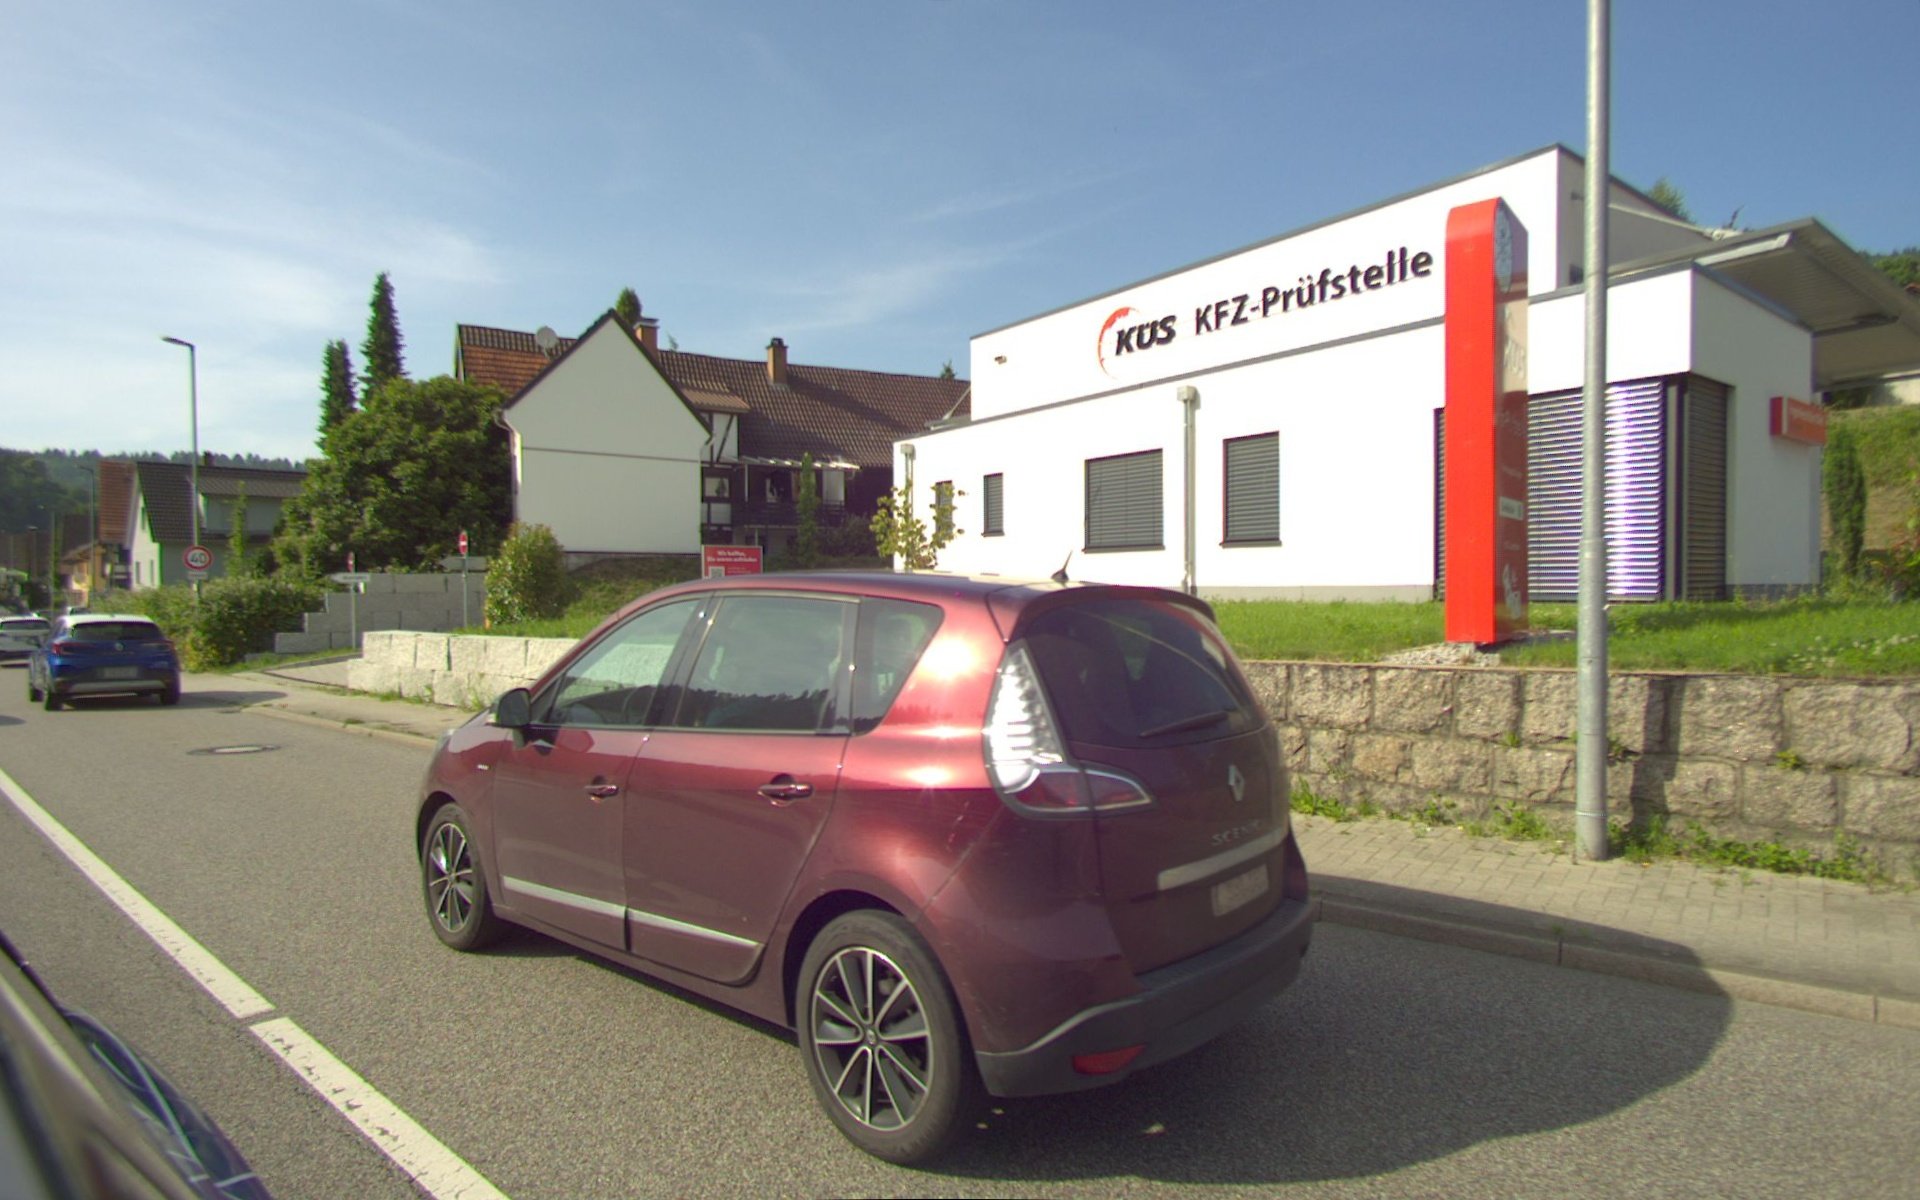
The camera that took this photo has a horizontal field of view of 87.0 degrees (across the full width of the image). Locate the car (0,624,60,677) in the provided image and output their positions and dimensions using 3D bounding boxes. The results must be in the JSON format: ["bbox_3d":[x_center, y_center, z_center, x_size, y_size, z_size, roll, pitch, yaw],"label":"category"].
[{"bbox_3d":[-29.239,1.526,31.297,4.190,1.515,1.730,-2,-2,43],"label":"car"}]

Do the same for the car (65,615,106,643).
[{"bbox_3d":[-56.135,1.844,64.957,1.878,1.677,4.273,-2,1,-42],"label":"car"}]

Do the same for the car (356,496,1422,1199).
[{"bbox_3d":[-0.730,0.682,4.174,4.461,1.630,1.778,-2,-3,42],"label":"car"}]

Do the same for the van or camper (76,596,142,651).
[{"bbox_3d":[-43.049,1.155,51.122,2.123,2.574,5.906,-1,0,-44],"label":"van or camper"}]

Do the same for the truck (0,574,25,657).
[{"bbox_3d":[-49.952,0.830,51.918,2.548,3.961,11.312,0,-1,-45],"label":"truck"}]

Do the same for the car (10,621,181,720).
[{"bbox_3d":[-15.147,1.149,17.659,3.998,1.538,1.726,-2,-2,42],"label":"car"}]
